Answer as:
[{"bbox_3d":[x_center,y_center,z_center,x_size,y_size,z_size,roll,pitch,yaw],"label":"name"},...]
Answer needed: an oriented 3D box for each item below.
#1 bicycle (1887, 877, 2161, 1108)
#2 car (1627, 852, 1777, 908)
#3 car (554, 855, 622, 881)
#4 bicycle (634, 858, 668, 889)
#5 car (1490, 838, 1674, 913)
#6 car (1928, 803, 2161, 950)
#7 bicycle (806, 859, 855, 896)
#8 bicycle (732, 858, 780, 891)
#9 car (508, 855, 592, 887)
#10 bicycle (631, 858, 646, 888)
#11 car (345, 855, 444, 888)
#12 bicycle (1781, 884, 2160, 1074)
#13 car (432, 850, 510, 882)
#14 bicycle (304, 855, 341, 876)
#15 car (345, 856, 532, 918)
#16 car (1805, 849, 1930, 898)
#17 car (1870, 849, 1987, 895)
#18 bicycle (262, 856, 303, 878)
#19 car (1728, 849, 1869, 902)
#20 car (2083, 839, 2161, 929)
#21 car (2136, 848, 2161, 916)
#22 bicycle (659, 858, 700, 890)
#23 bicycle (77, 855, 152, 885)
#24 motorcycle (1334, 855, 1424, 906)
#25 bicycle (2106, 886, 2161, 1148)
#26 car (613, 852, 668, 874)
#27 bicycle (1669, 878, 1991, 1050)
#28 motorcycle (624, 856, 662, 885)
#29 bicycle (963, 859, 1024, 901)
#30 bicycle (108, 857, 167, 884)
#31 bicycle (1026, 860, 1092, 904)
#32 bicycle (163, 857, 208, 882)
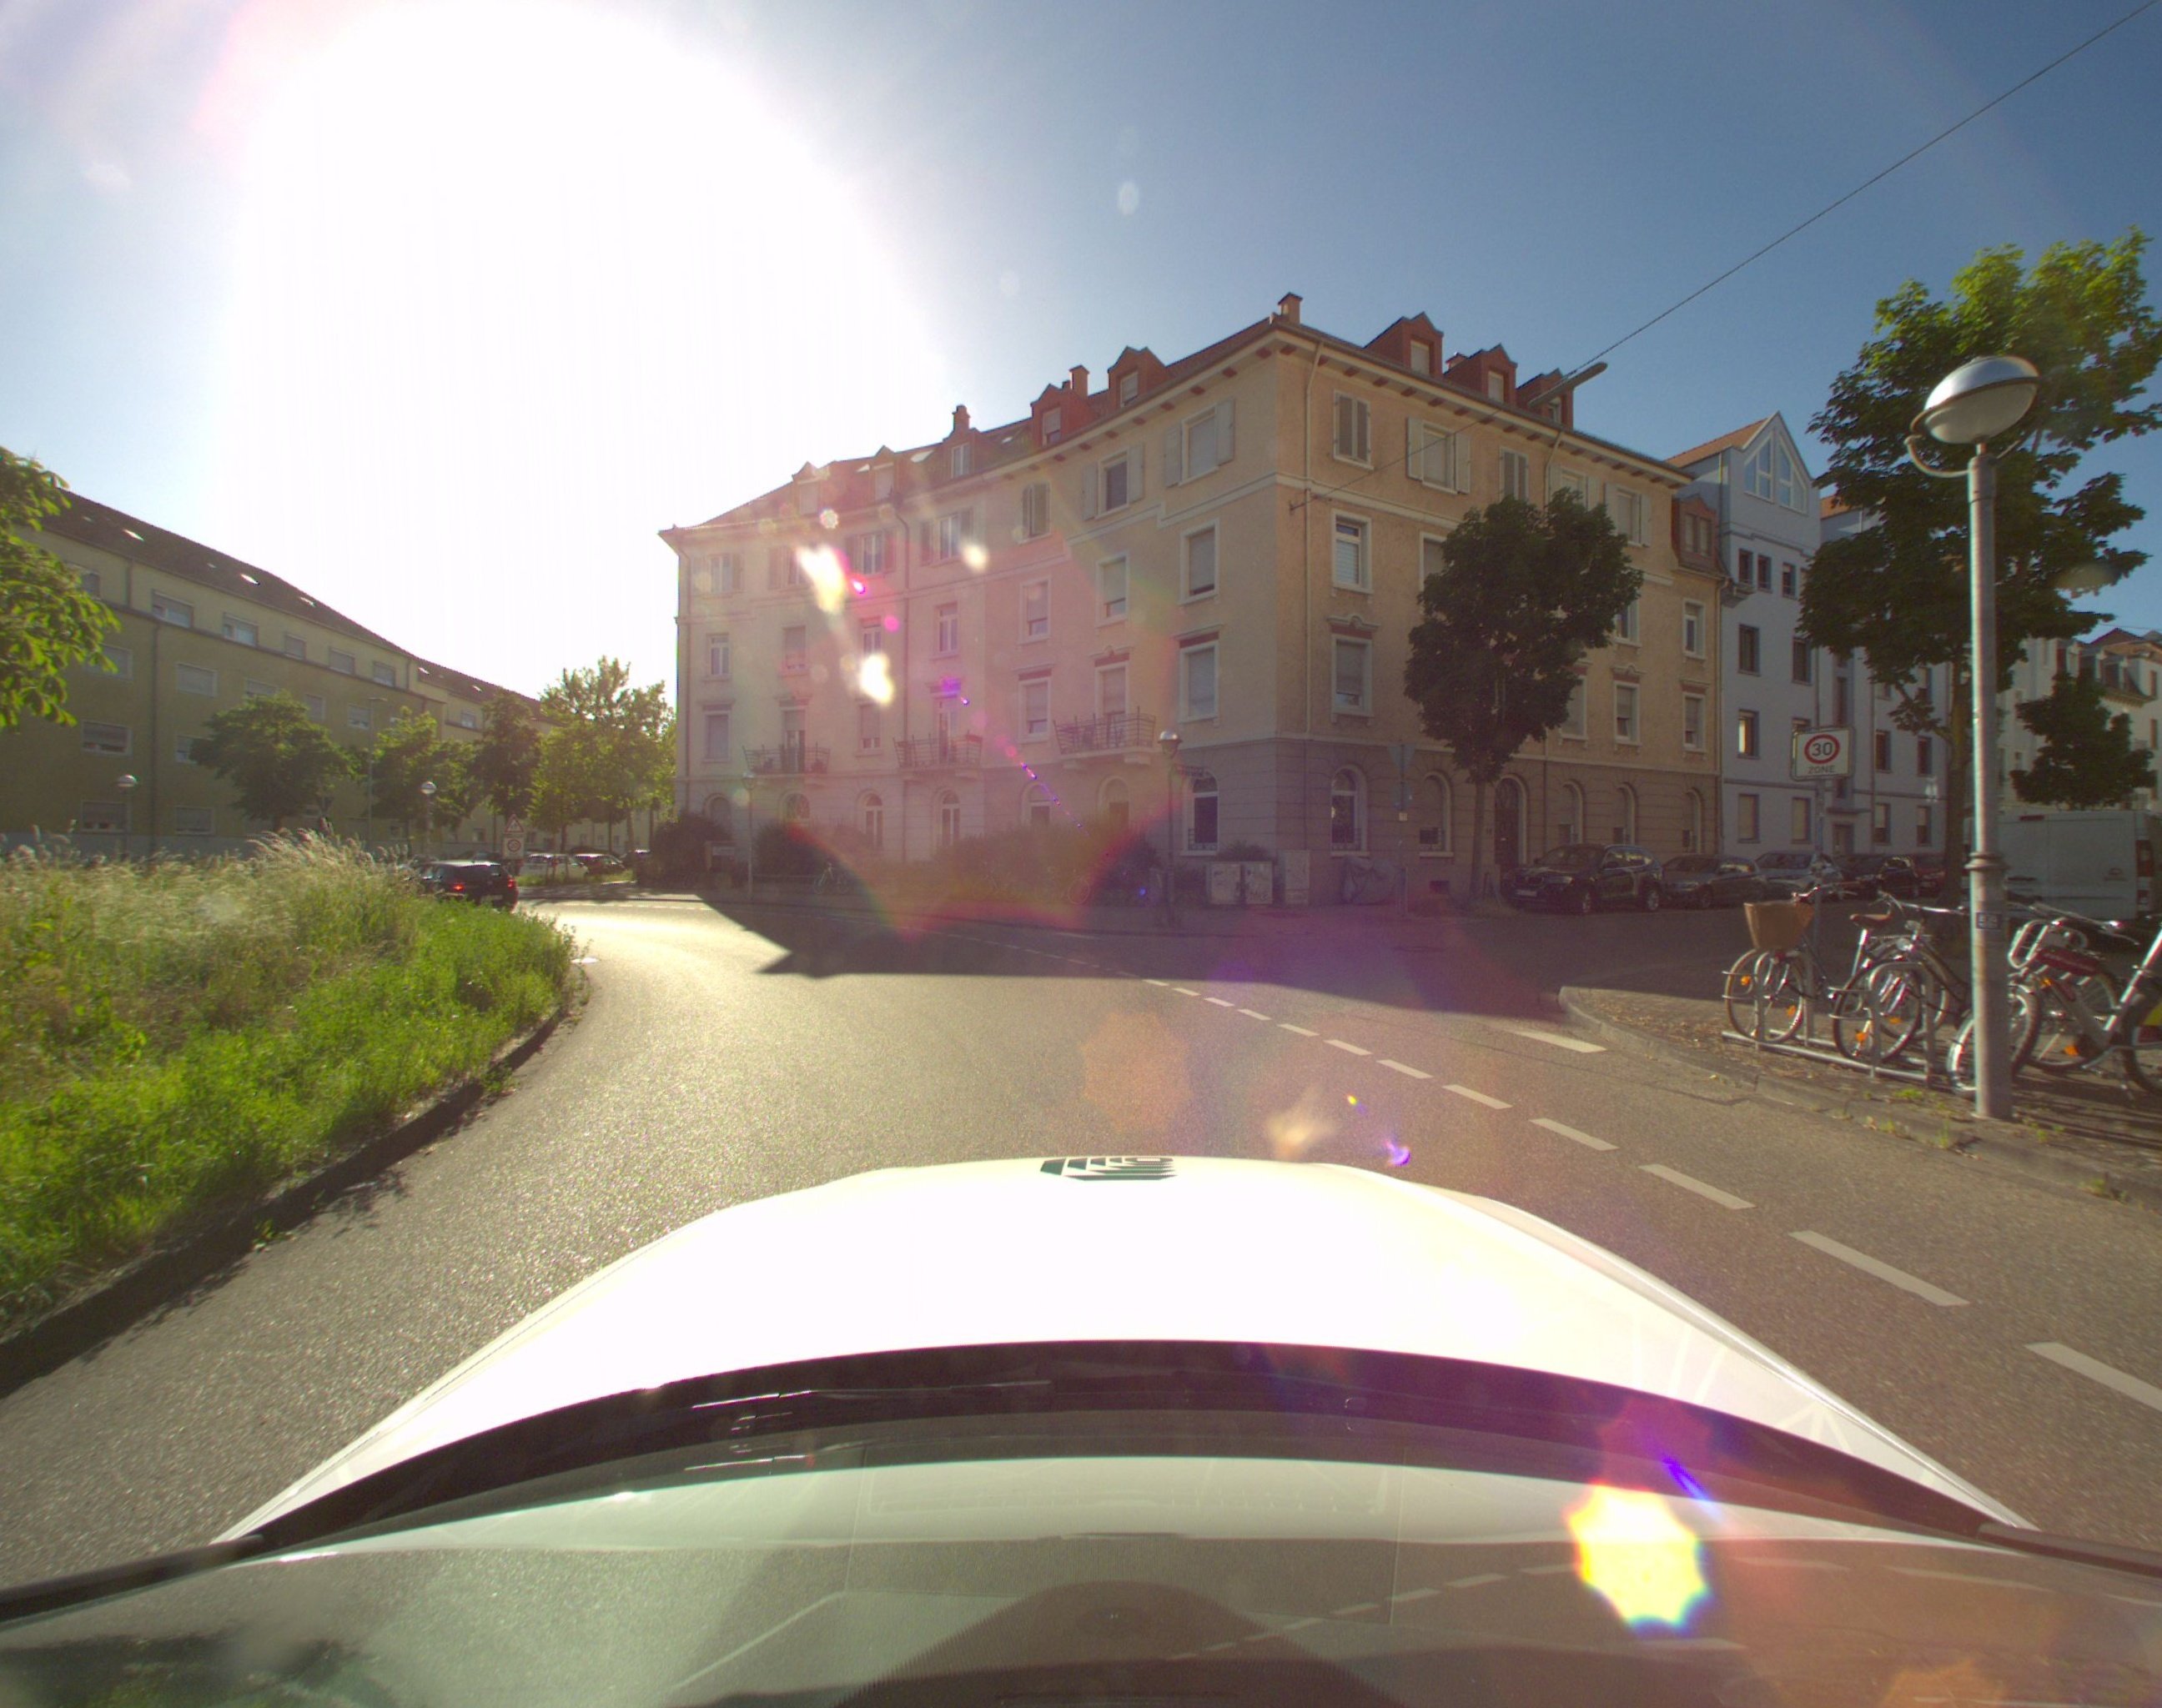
[{"bbox_3d":[5.574,0.711,4.488,1.687,1.145,0.637,0,-1,-3],"label":"bicycle"},{"bbox_3d":[16.695,0.651,21.894,3.668,1.412,1.688,0,0,-25],"label":"car"},{"bbox_3d":[-25.663,0.714,42.568,1.794,1.255,3.706,-1,0,-10],"label":"car"},{"bbox_3d":[-16.096,0.711,30.485,1.777,1.107,0.503,0,1,40],"label":"bicycle"},{"bbox_3d":[12.154,0.470,19.720,4.357,1.642,1.892,0,0,-28],"label":"car"},{"bbox_3d":[15.464,0.301,12.724,4.575,1.909,2.121,0,0,-31],"label":"car"},{"bbox_3d":[-7.853,0.722,25.479,1.664,1.088,0.506,0,2,34],"label":"bicycle"},{"bbox_3d":[-11.485,0.716,28.800,0.494,1.107,1.692,0,1,24],"label":"bicycle"},{"bbox_3d":[-24.713,0.745,38.070,1.793,1.413,3.988,0,0,-9],"label":"car"},{"bbox_3d":[-17.510,0.726,32.219,0.501,1.107,1.932,-1,1,-29],"label":"bicycle"},{"bbox_3d":[-31.652,0.758,37.696,1.799,1.411,3.983,-1,0,-12],"label":"car"},{"bbox_3d":[5.531,0.746,5.111,1.868,1.090,0.535,0,-1,-3],"label":"bicycle"},{"bbox_3d":[-32.596,0.616,43.654,1.795,1.576,3.984,-1,0,-12],"label":"car"},{"bbox_3d":[-38.889,0.594,41.751,0.496,1.026,1.451,0,0,3],"label":"bicycle"},{"bbox_3d":[-16.394,0.793,20.824,3.954,1.419,1.880,0,1,19],"label":"car"},{"bbox_3d":[25.728,0.612,26.651,3.775,1.486,1.688,0,0,-25],"label":"car"},{"bbox_3d":[29.698,0.620,28.534,3.775,1.525,1.688,0,0,-25],"label":"car"},{"bbox_3d":[-38.612,0.610,39.384,0.496,1.026,1.451,0,0,3],"label":"bicycle"},{"bbox_3d":[21.447,0.607,24.343,4.008,1.486,1.688,0,0,-25],"label":"car"},{"bbox_3d":[20.446,0.525,15.143,3.747,1.573,1.623,0,0,-28],"label":"car"},{"bbox_3d":[24.454,0.596,17.526,3.342,1.428,1.623,0,0,-28],"label":"car"},{"bbox_3d":[-14.514,0.723,29.432,1.777,1.107,0.503,0,1,34],"label":"bicycle"},{"bbox_3d":[-37.228,0.612,31.402,0.494,1.107,1.810,0,0,23],"label":"bicycle"},{"bbox_3d":[7.735,0.656,21.106,2.156,1.220,0.935,0,2,-25],"label":"motorcycle"},{"bbox_3d":[5.612,0.719,3.609,1.691,1.145,0.614,0,-1,-11],"label":"bicycle"},{"bbox_3d":[-26.555,0.541,49.187,1.794,1.255,3.706,-1,0,-10],"label":"car"},{"bbox_3d":[5.366,0.742,5.883,1.861,1.130,0.697,0,-2,-9],"label":"bicycle"},{"bbox_3d":[-18.723,0.693,34.837,0.885,1.191,1.487,-2,1,-7],"label":"motorcycle"},{"bbox_3d":[-2.381,0.701,22.133,1.665,1.088,0.506,0,2,32],"label":"bicycle"},{"bbox_3d":[-37.731,0.644,32.581,0.494,1.026,1.458,0,0,23],"label":"bicycle"},{"bbox_3d":[-0.583,0.706,20.893,1.665,1.088,0.506,0,2,32],"label":"bicycle"},{"bbox_3d":[-37.946,0.641,34.524,0.498,1.026,1.445,0,0,-10],"label":"bicycle"}]
